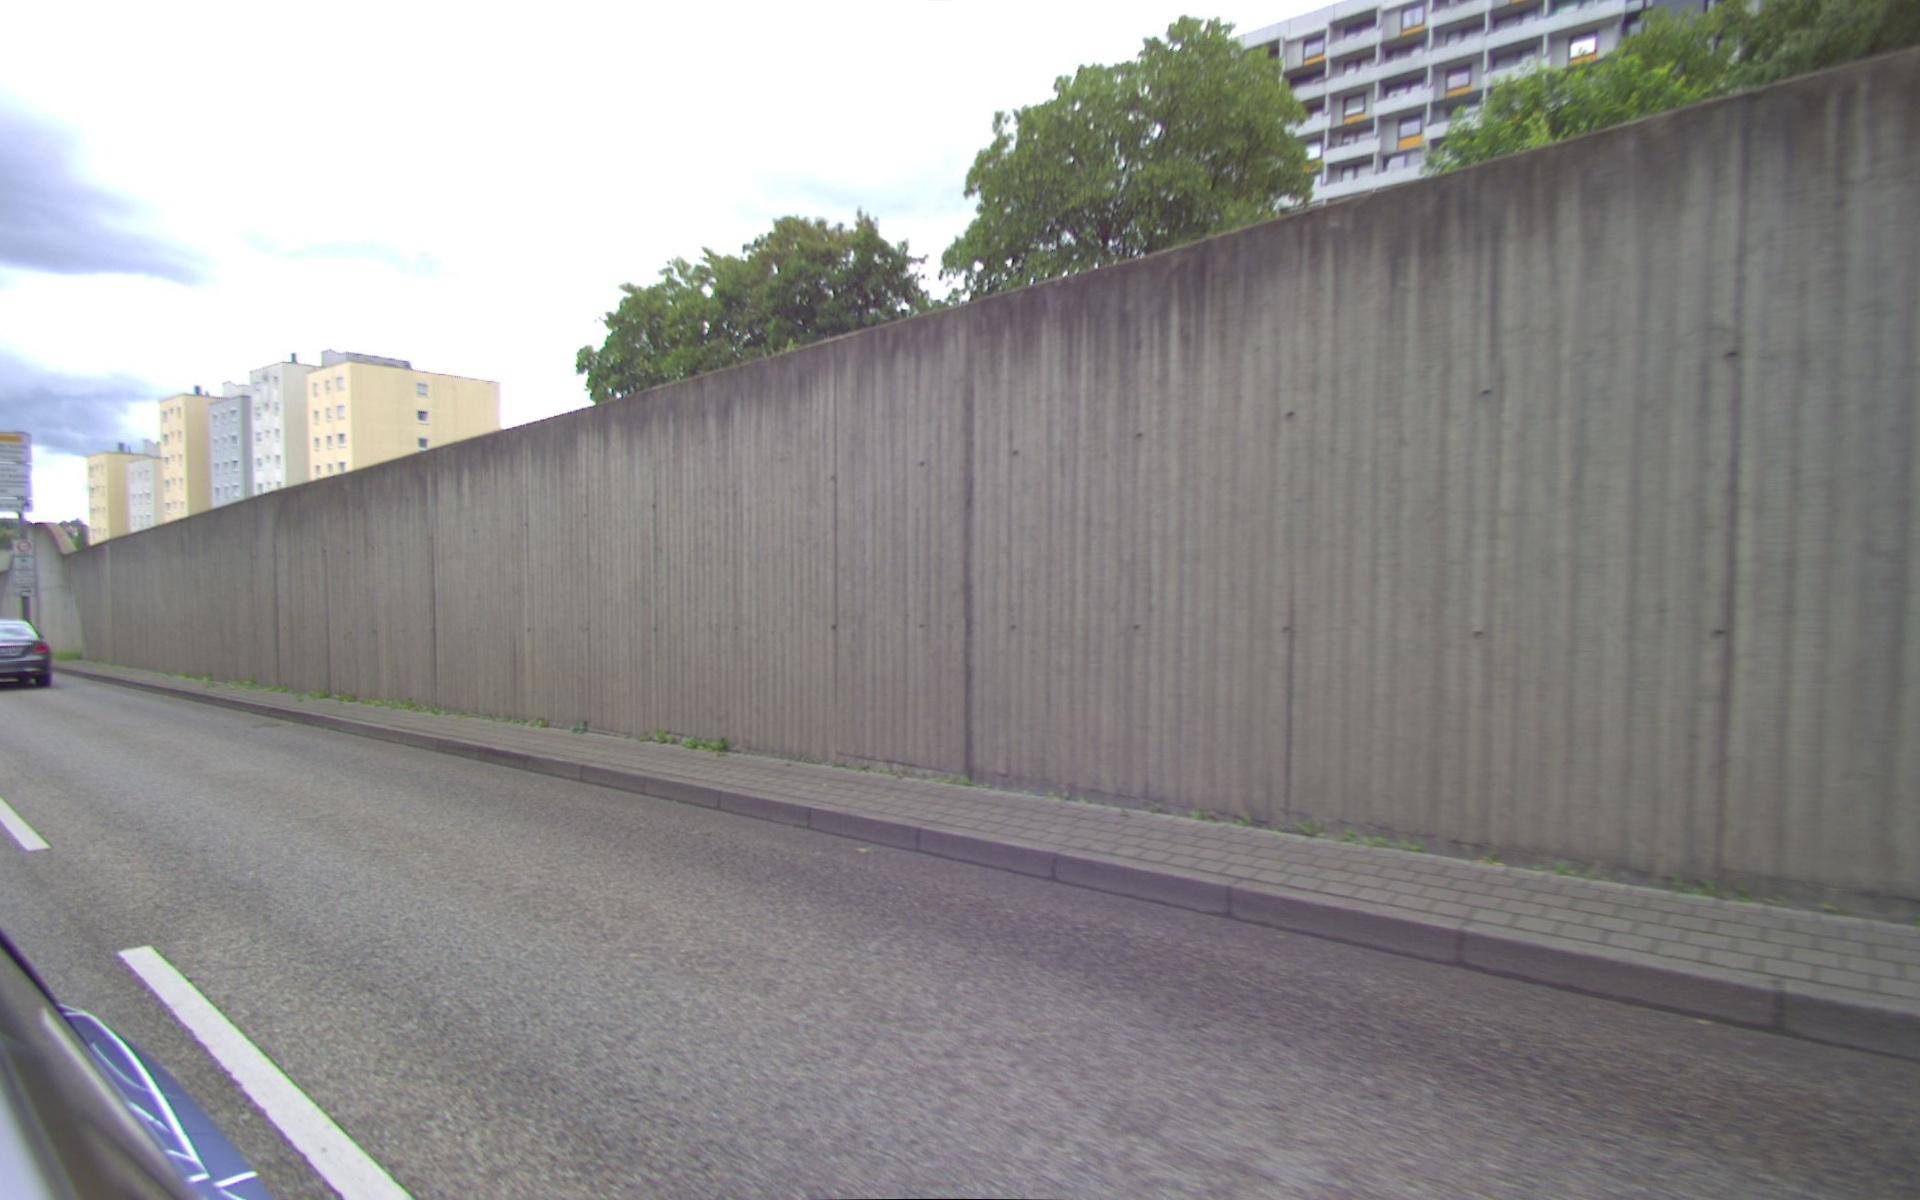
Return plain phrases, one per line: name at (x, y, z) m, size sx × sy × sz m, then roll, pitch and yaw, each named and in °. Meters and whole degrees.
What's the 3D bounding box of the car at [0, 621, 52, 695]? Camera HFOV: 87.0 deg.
car at (-21.426, 1.235, 22.086) m, size 4.821 × 1.495 × 1.873 m, roll -1°, pitch -1°, yaw 41°
